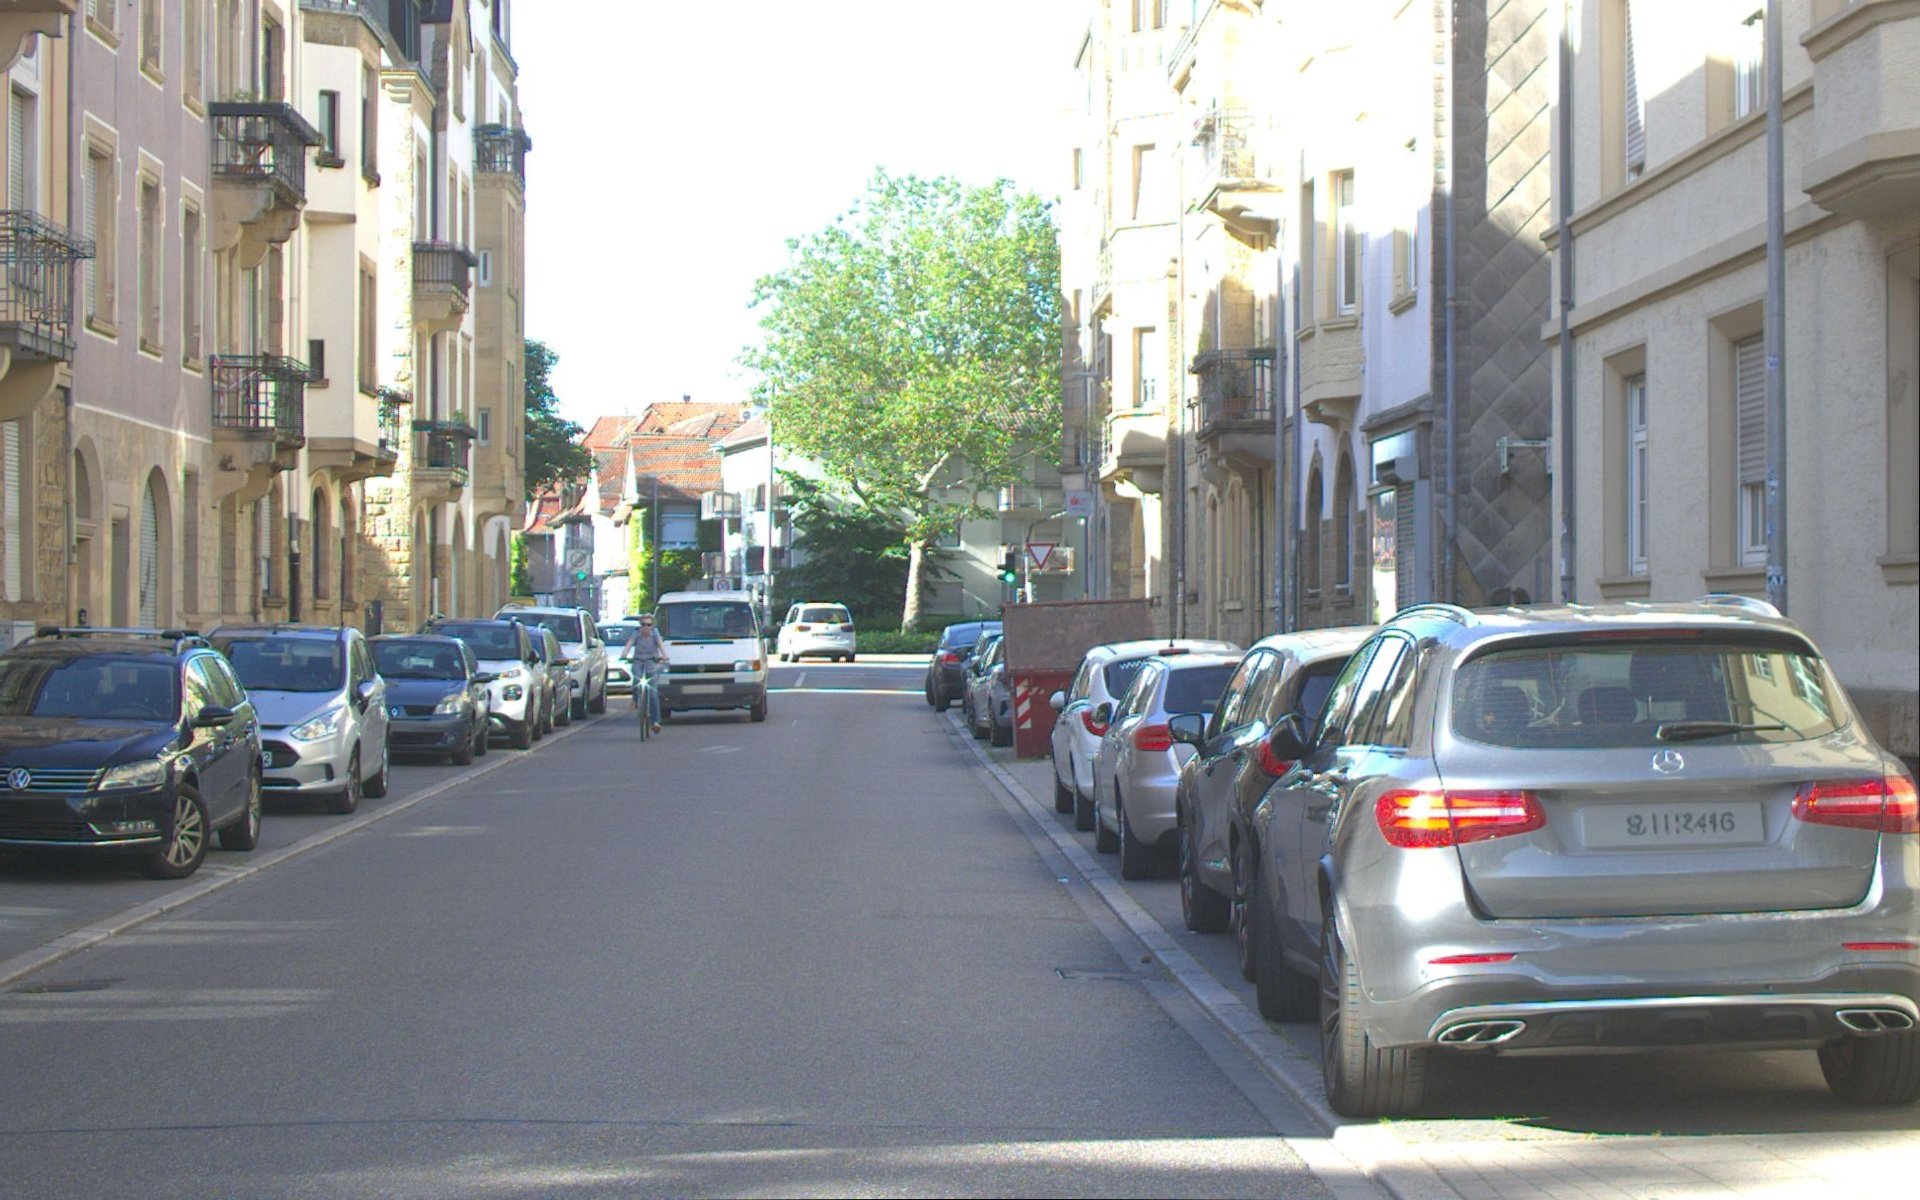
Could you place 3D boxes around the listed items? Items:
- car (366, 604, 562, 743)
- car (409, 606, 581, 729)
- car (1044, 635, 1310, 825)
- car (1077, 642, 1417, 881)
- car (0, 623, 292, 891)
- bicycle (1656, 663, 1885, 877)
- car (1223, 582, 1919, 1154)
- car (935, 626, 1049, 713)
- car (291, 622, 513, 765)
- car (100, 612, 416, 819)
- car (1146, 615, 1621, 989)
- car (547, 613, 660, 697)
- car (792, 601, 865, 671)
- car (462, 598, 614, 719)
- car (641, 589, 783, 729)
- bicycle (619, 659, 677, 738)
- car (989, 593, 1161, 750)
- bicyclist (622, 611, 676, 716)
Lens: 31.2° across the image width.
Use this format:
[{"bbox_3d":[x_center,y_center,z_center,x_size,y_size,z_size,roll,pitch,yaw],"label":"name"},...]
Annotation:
[{"bbox_3d":[-6.288,0.937,44.058,2.003,1.613,4.487,2,-1,-3],"label":"car"},{"bbox_3d":[-6.643,0.970,49.555,2.003,1.613,4.487,2,-1,-3],"label":"car"},{"bbox_3d":[1.720,1.061,28.531,1.838,1.427,4.028,-1,-2,-1],"label":"car"},{"bbox_3d":[1.832,1.050,23.140,1.838,1.427,4.028,-1,-2,-1],"label":"car"},{"bbox_3d":[-5.850,0.971,23.036,2.003,1.577,4.487,2,-1,-3],"label":"car"},{"bbox_3d":[5.122,1.043,21.909,0.761,1.242,2.592,0,0,-2],"label":"bicycle"},{"bbox_3d":[2.095,0.850,12.457,1.913,1.639,4.773,-1,-2,0],"label":"car"},{"bbox_3d":[0.529,1.235,60.136,1.838,1.427,4.028,-1,-2,-1],"label":"car"},{"bbox_3d":[-6.325,1.048,39.397,1.978,1.477,4.328,2,-1,-3],"label":"car"},{"bbox_3d":[-6.104,0.983,30.406,2.003,1.613,4.487,2,-1,-3],"label":"car"},{"bbox_3d":[1.965,0.943,17.076,1.745,1.602,4.028,-1,-2,-1],"label":"car"},{"bbox_3d":[-7.253,1.127,70.295,2.003,1.600,4.487,2,-1,-3],"label":"car"},{"bbox_3d":[-3.826,1.058,100.032,2.003,1.907,4.487,2,-1,-2],"label":"car"},{"bbox_3d":[-6.712,0.932,55.092,2.003,1.782,4.487,2,-1,-3],"label":"car"},{"bbox_3d":[-3.787,0.912,53.195,2.003,1.993,4.487,2,-1,-3],"label":"car"},{"bbox_3d":[-4.176,1.306,46.141,0.662,1.015,2.066,-1,-1,-3],"label":"bicycle"},{"bbox_3d":[1.333,0.887,41.327,1.838,1.781,4.028,0,-2,-1],"label":"car"},{"bbox_3d":[-4.176,0.849,46.165,0.662,1.381,0.754,-1,-1,-3],"label":"bicyclist"}]
